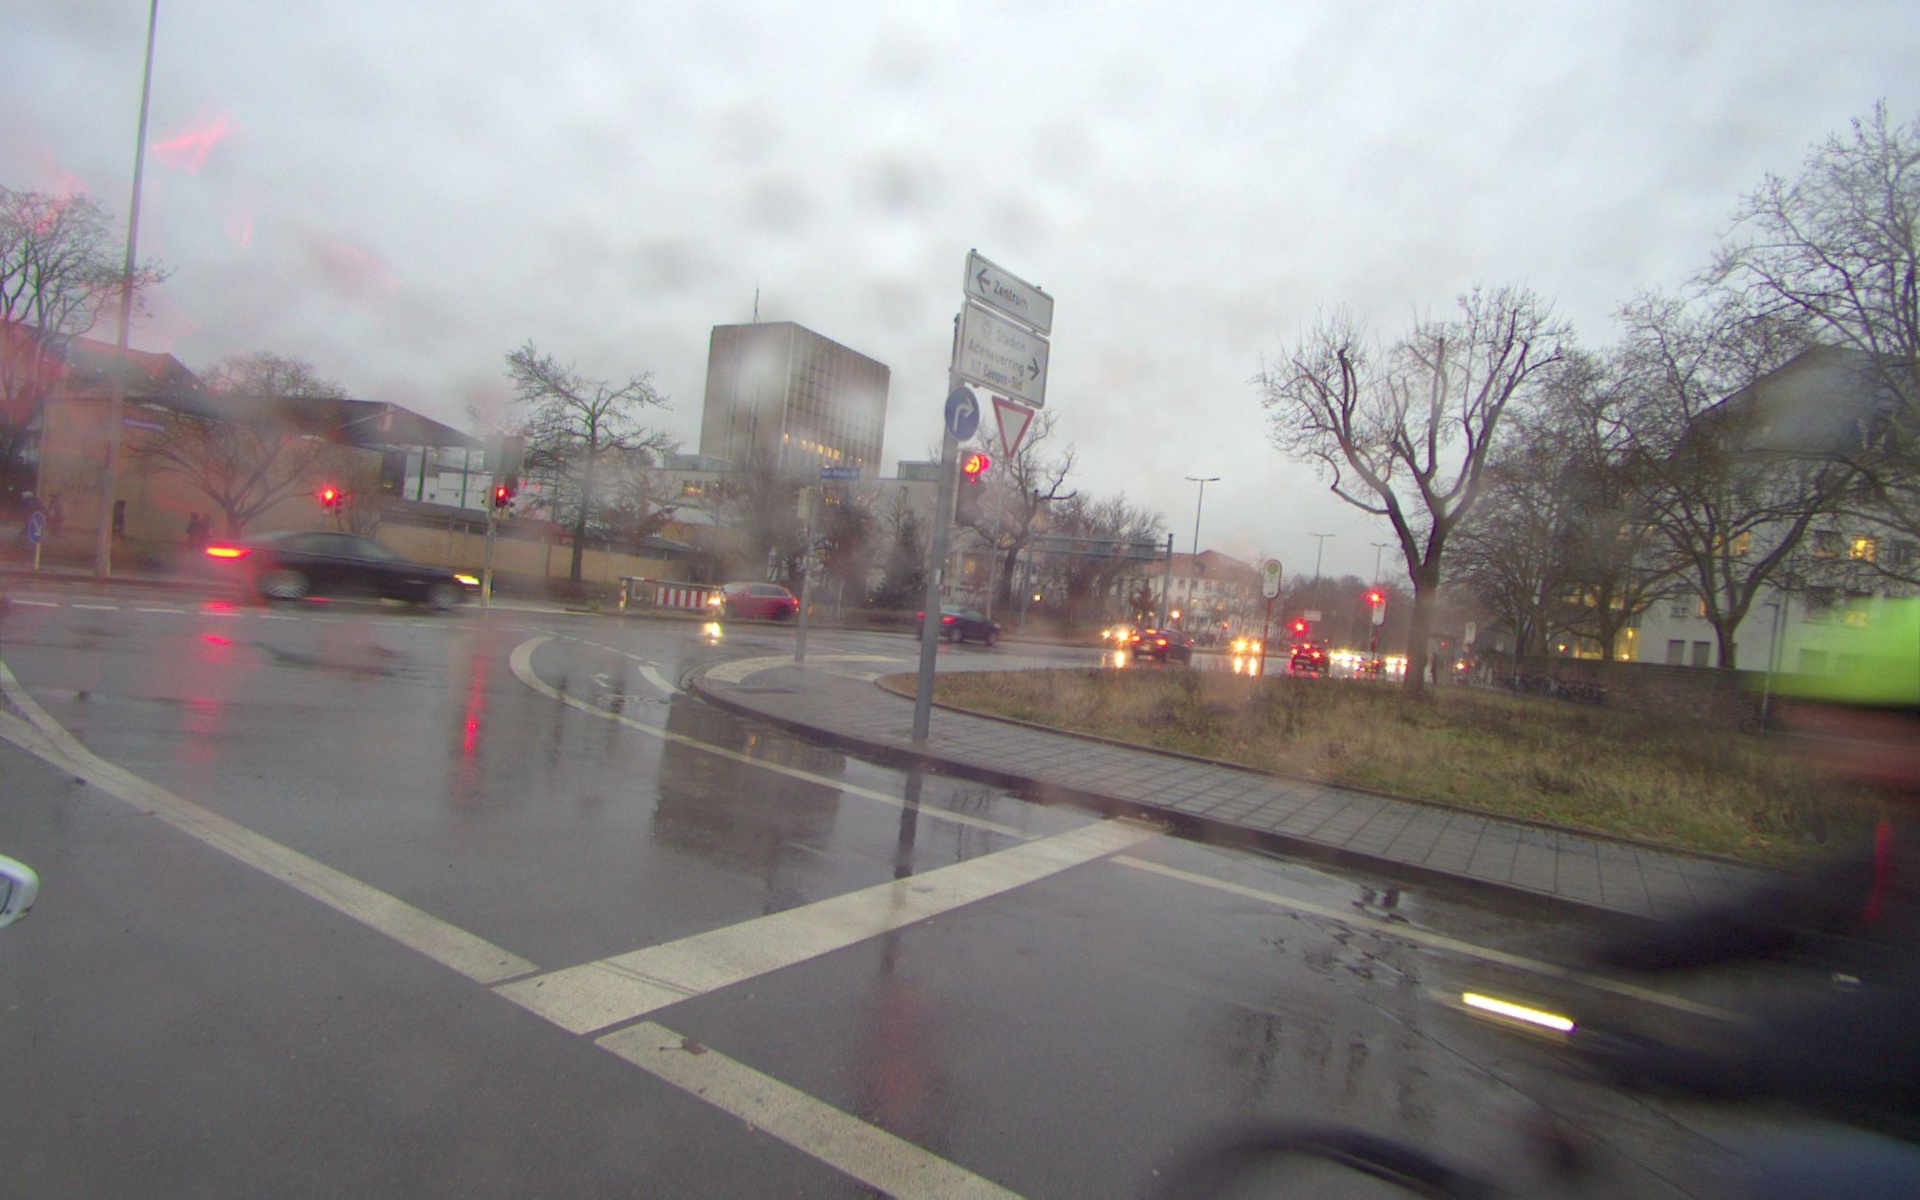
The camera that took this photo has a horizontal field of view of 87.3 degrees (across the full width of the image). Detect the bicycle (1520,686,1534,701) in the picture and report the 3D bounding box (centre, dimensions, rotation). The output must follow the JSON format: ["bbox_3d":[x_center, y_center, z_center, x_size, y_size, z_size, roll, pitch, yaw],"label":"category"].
[{"bbox_3d":[33.319,5.486,59.148,0.387,0.795,1.532,7,-2,20],"label":"bicycle"}]

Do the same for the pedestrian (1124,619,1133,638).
[{"bbox_3d":[16.093,2.712,96.061,0.411,1.725,0.430,8,3,44],"label":"pedestrian"}]

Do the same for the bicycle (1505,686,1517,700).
[{"bbox_3d":[34.846,5.865,63.629,0.387,0.795,1.532,7,-2,20],"label":"bicycle"}]

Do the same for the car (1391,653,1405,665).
[{"bbox_3d":[74.943,10.058,172.080,1.834,1.783,3.993,7,1,27],"label":"car"}]

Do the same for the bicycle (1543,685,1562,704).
[{"bbox_3d":[31.838,5.074,54.090,0.387,0.927,1.532,7,-2,15],"label":"bicycle"}]

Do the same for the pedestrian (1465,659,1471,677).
[{"bbox_3d":[52.106,6.958,103.272,0.313,1.816,0.461,7,2,32],"label":"pedestrian"}]

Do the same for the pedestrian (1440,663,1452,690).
[{"bbox_3d":[30.148,4.732,62.421,0.462,1.623,0.486,7,-1,25],"label":"pedestrian"}]

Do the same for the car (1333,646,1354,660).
[{"bbox_3d":[53.419,7.391,140.179,1.966,1.783,3.992,7,1,29],"label":"car"}]

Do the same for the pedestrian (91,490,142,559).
[{"bbox_3d":[-28.104,-2.506,33.514,0.870,2.141,0.894,7,2,26],"label":"pedestrian"}]

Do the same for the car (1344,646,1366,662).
[{"bbox_3d":[51.637,7.067,131.496,1.966,1.783,3.992,7,1,29],"label":"car"}]

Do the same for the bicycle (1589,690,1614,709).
[{"bbox_3d":[30.272,4.672,47.479,0.352,0.795,1.415,7,-2,8],"label":"bicycle"}]

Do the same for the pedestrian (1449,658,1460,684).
[{"bbox_3d":[41.094,5.887,83.542,0.557,2.040,0.595,8,2,33],"label":"pedestrian"}]

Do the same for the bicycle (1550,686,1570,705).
[{"bbox_3d":[31.353,4.979,52.559,0.387,0.868,1.532,7,-2,15],"label":"bicycle"}]

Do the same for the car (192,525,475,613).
[{"bbox_3d":[-13.110,-0.606,21.304,1.911,1.318,4.676,6,0,41],"label":"car"}]

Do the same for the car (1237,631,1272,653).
[{"bbox_3d":[29.709,4.258,101.410,2.014,1.903,5.325,6,0,31],"label":"car"}]

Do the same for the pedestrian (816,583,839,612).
[{"bbox_3d":[-8.189,-0.140,62.055,0.783,1.624,0.960,8,2,39],"label":"pedestrian"}]

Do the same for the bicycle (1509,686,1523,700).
[{"bbox_3d":[34.346,5.741,62.155,0.387,0.795,1.532,7,-2,20],"label":"bicycle"}]

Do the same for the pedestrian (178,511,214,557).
[{"bbox_3d":[-27.917,-2.421,36.757,0.889,1.553,0.875,5,2,-41],"label":"pedestrian"}]

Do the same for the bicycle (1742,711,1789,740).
[{"bbox_3d":[28.200,4.399,35.228,0.387,0.834,1.386,7,-2,-4],"label":"bicycle"}]

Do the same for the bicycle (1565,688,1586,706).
[{"bbox_3d":[31.035,4.875,50.747,0.343,0.848,1.493,7,-2,13],"label":"bicycle"}]

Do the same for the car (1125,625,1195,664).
[{"bbox_3d":[9.510,2.135,47.639,1.811,1.602,4.127,6,0,32],"label":"car"}]

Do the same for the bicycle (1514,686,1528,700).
[{"bbox_3d":[33.825,5.613,60.666,0.387,0.795,1.532,7,-2,20],"label":"bicycle"}]

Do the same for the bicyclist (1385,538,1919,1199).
[{"bbox_3d":[1.250,0.737,1.374,1.115,1.470,0.785,6,-1,32],"label":"bicyclist"}]

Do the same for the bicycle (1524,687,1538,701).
[{"bbox_3d":[32.837,5.403,57.869,0.387,0.795,1.532,7,-2,19],"label":"bicycle"}]

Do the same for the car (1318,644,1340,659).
[{"bbox_3d":[49.278,6.860,134.151,1.966,1.783,3.992,7,1,29],"label":"car"}]

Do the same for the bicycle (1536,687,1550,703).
[{"bbox_3d":[32.409,5.289,55.956,0.387,0.795,1.607,7,-2,22],"label":"bicycle"}]

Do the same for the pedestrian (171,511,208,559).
[{"bbox_3d":[-27.365,-2.313,35.727,0.920,1.553,1.031,5,2,-39],"label":"pedestrian"}]

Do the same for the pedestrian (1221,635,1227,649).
[{"bbox_3d":[32.962,5.249,125.670,0.404,1.713,0.561,7,2,28],"label":"pedestrian"}]

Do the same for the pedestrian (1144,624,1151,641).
[{"bbox_3d":[19.346,3.326,103.810,0.411,1.725,0.430,8,3,44],"label":"pedestrian"}]

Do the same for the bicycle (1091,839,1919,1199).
[{"bbox_3d":[1.204,1.115,1.369,1.925,1.087,0.785,6,-2,32],"label":"bicycle"}]

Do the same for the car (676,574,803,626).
[{"bbox_3d":[-8.056,0.031,37.107,1.784,1.496,4.411,6,0,37],"label":"car"}]

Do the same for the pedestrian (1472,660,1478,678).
[{"bbox_3d":[52.446,6.998,102.365,0.313,1.816,0.461,7,2,32],"label":"pedestrian"}]

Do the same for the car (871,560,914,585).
[{"bbox_3d":[-7.101,-2.916,106.471,2.014,2.102,4.892,6,0,30],"label":"car"}]

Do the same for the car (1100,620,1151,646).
[{"bbox_3d":[11.714,2.331,70.976,1.782,1.496,4.414,6,0,34],"label":"car"}]

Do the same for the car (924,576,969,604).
[{"bbox_3d":[-1.369,-0.993,103.216,2.014,2.452,5.326,6,0,30],"label":"car"}]

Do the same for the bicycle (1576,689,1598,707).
[{"bbox_3d":[30.546,4.768,49.003,0.387,0.795,1.533,7,-2,14],"label":"bicycle"}]

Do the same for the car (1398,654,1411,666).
[{"bbox_3d":[81.437,10.995,184.240,1.834,1.783,3.993,7,1,27],"label":"car"}]

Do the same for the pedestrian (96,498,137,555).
[{"bbox_3d":[-29.337,-2.553,35.001,0.992,1.823,0.908,5,2,-41],"label":"pedestrian"}]

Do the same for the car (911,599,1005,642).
[{"bbox_3d":[-0.029,0.814,38.657,1.675,1.318,3.754,6,0,36],"label":"car"}]

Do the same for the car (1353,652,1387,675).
[{"bbox_3d":[34.276,5.287,84.038,1.811,1.710,4.311,6,0,32],"label":"car"}]

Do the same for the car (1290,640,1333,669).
[{"bbox_3d":[24.410,3.774,69.734,1.811,1.710,4.314,6,-1,31],"label":"car"}]

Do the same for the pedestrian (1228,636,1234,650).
[{"bbox_3d":[33.815,5.364,125.616,0.404,1.713,0.427,7,2,28],"label":"pedestrian"}]

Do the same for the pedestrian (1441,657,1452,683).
[{"bbox_3d":[40.581,5.832,83.880,0.557,2.040,0.595,8,2,33],"label":"pedestrian"}]

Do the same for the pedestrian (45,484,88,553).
[{"bbox_3d":[-29.709,-2.705,33.449,0.874,2.141,0.890,8,2,44],"label":"pedestrian"}]

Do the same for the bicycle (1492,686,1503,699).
[{"bbox_3d":[36.386,6.246,68.110,0.387,0.795,1.532,7,-2,20],"label":"bicycle"}]

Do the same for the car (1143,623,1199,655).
[{"bbox_3d":[12.343,2.306,58.677,1.811,1.602,4.127,6,0,31],"label":"car"}]
